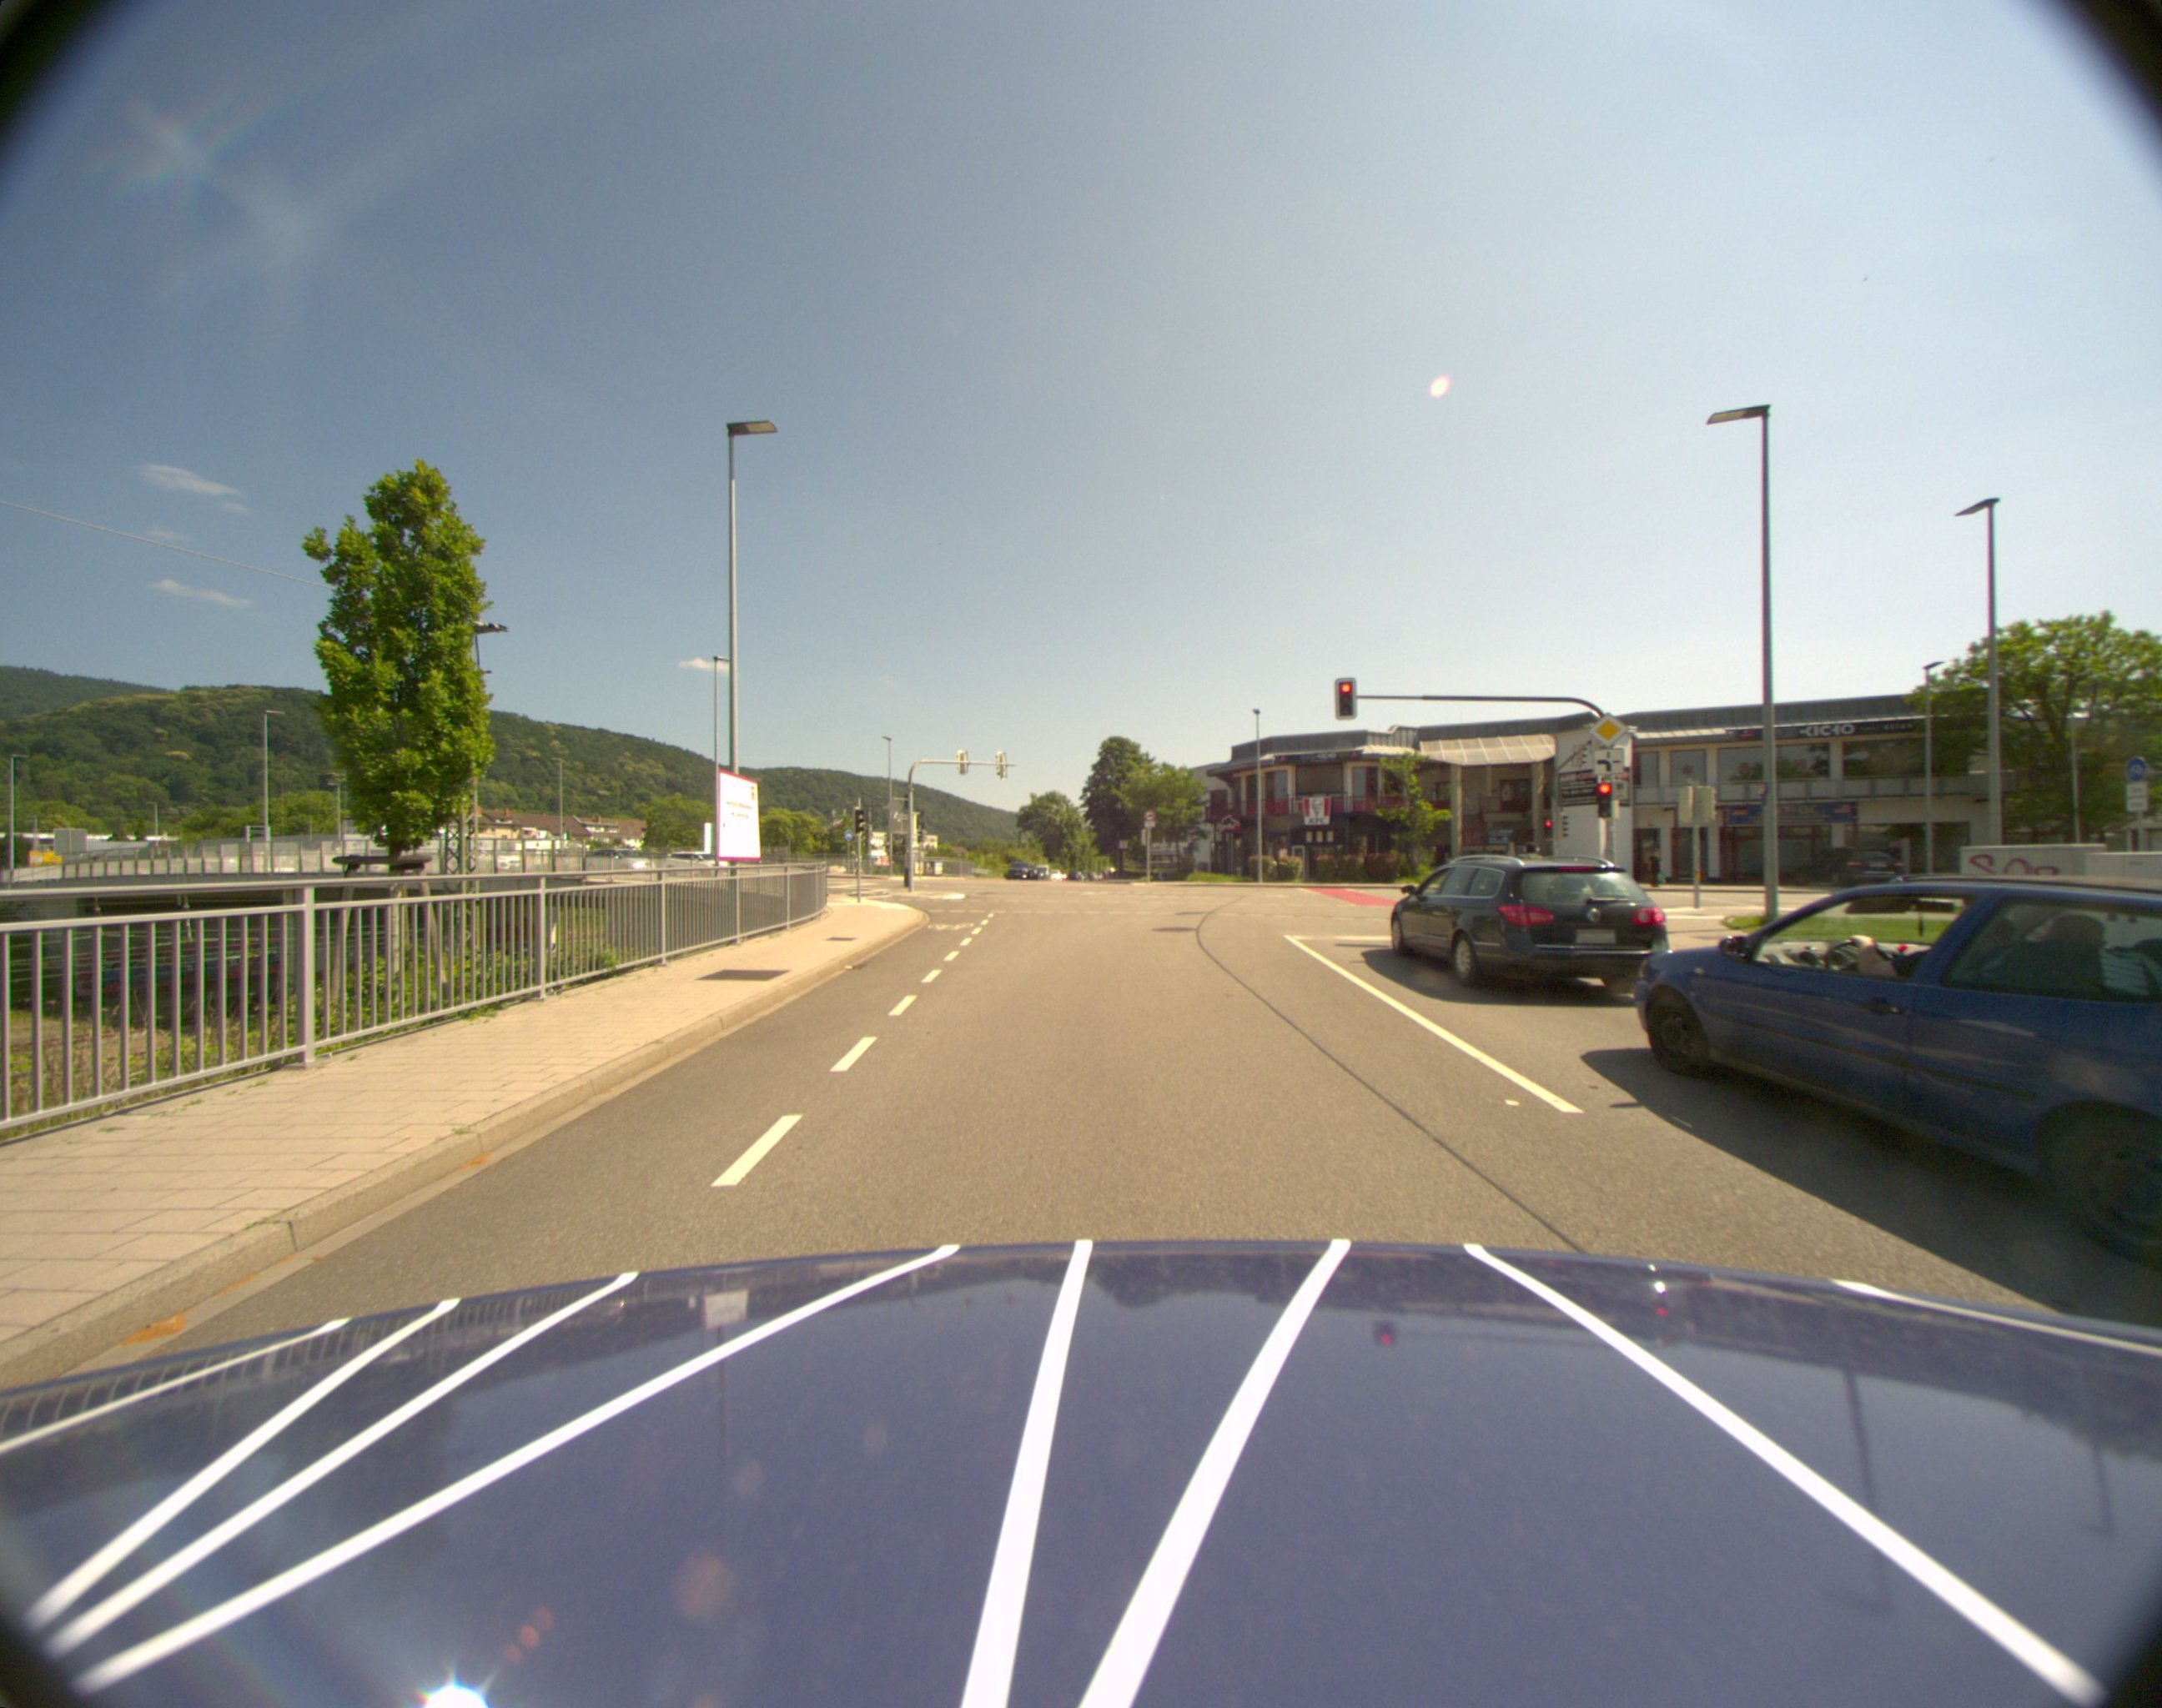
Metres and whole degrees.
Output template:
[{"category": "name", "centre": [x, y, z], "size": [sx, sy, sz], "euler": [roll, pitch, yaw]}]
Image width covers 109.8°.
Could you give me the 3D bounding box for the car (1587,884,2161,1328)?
[{"category": "car", "centre": [4.624, 0.919, 3.924], "size": [1.659, 1.373, 4.002], "euler": [0, 0, 5]}]

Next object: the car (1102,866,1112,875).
[{"category": "car", "centre": [4.964, 3.130, 143.461], "size": [1.671, 1.718, 4.001], "euler": [-1, 0, 5]}]

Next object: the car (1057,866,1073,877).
[{"category": "car", "centre": [-2.087, 2.301, 99.705], "size": [1.671, 1.427, 4.001], "euler": [0, 0, 3]}]

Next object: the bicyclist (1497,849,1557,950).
[{"category": "bicyclist", "centre": [8.112, 0.811, 13.856], "size": [0.711, 1.778, 0.809], "euler": [0, 0, 10]}]

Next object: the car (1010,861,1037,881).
[{"category": "car", "centre": [-4.847, 1.404, 64.557], "size": [1.829, 1.618, 4.237], "euler": [0, 0, 2]}]

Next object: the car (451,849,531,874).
[{"category": "car", "centre": [-38.119, 0.476, 49.107], "size": [4.433, 1.617, 1.739], "euler": [0, 0, 16]}]

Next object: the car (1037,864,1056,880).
[{"category": "car", "centre": [-3.607, 1.858, 80.014], "size": [1.671, 1.625, 4.001], "euler": [0, 0, 3]}]

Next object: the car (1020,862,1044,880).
[{"category": "car", "centre": [-4.471, 1.561, 69.658], "size": [1.671, 1.524, 4.001], "euler": [0, 0, 3]}]

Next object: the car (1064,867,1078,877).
[{"category": "car", "centre": [-1.444, 2.556, 109.857], "size": [1.671, 1.427, 4.001], "euler": [0, 0, 3]}]

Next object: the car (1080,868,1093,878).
[{"category": "car", "centre": [0.895, 3.000, 120.754], "size": [1.671, 1.524, 4.001], "euler": [-1, 0, 5]}]

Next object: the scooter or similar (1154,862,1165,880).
[{"category": "scooter or similar", "centre": [5.059, 1.094, 48.982], "size": [0.426, 1.117, 1.453], "euler": [0, 0, 16]}]

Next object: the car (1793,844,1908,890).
[{"category": "car", "centre": [33.582, 0.538, 33.363], "size": [1.804, 1.844, 4.666], "euler": [0, 0, 21]}]

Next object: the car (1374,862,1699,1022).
[{"category": "car", "centre": [5.276, 0.866, 9.675], "size": [1.783, 1.488, 4.725], "euler": [0, 0, 7]}]

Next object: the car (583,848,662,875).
[{"category": "car", "centre": [-27.773, 0.440, 46.062], "size": [4.432, 1.617, 1.739], "euler": [0, 0, 21]}]

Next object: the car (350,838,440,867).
[{"category": "car", "centre": [-42.644, -0.077, 47.256], "size": [4.623, 1.709, 2.002], "euler": [0, 0, 16]}]

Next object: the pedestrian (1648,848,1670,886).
[{"category": "pedestrian", "centre": [25.294, 0.566, 33.243], "size": [0.731, 1.636, 0.843], "euler": [0, 0, 41]}]

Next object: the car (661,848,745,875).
[{"category": "car", "centre": [-21.554, 0.417, 43.338], "size": [4.400, 1.461, 1.739], "euler": [0, 0, 21]}]

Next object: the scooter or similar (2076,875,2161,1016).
[{"category": "scooter or similar", "centre": [9.377, 0.783, 6.394], "size": [0.472, 1.177, 1.367], "euler": [0, 0, 15]}]

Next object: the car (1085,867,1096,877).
[{"category": "car", "centre": [1.587, 2.991, 126.341], "size": [1.671, 1.524, 4.001], "euler": [0, 0, 3]}]

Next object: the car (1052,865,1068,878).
[{"category": "car", "centre": [-2.507, 2.140, 92.381], "size": [1.671, 1.524, 4.001], "euler": [0, 0, 3]}]

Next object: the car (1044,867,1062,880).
[{"category": "car", "centre": [-3.124, 2.144, 85.231], "size": [1.671, 1.309, 4.001], "euler": [0, 0, 3]}]

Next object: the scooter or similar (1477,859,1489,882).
[{"category": "scooter or similar", "centre": [20.338, 0.823, 38.418], "size": [0.499, 1.117, 1.507], "euler": [0, 0, 30]}]
